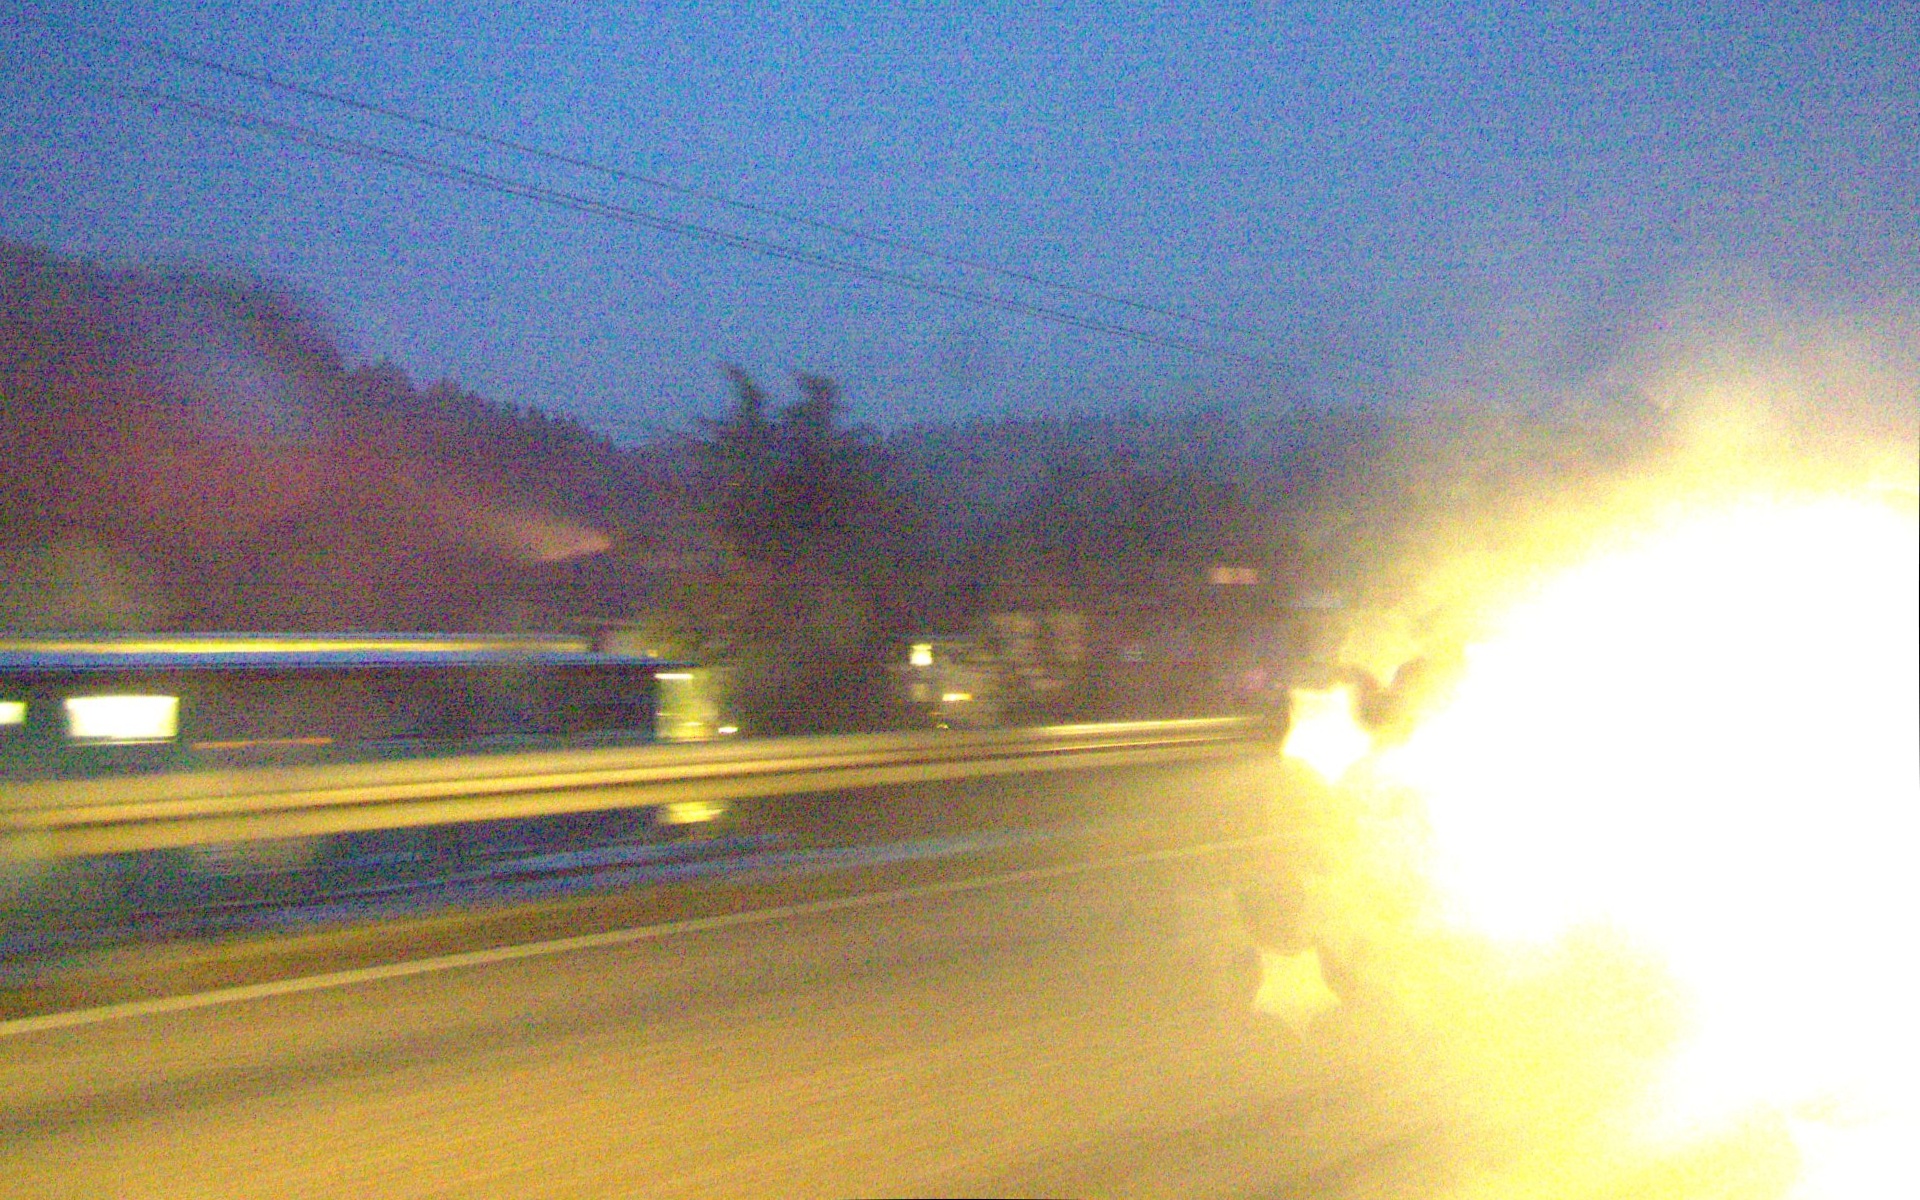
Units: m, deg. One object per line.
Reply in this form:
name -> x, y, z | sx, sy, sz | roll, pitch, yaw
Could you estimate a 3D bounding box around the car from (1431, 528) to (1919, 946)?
car -> 5.338, 0.666, 6.461 | 4.510, 1.849, 1.984 | 2, -1, -30
